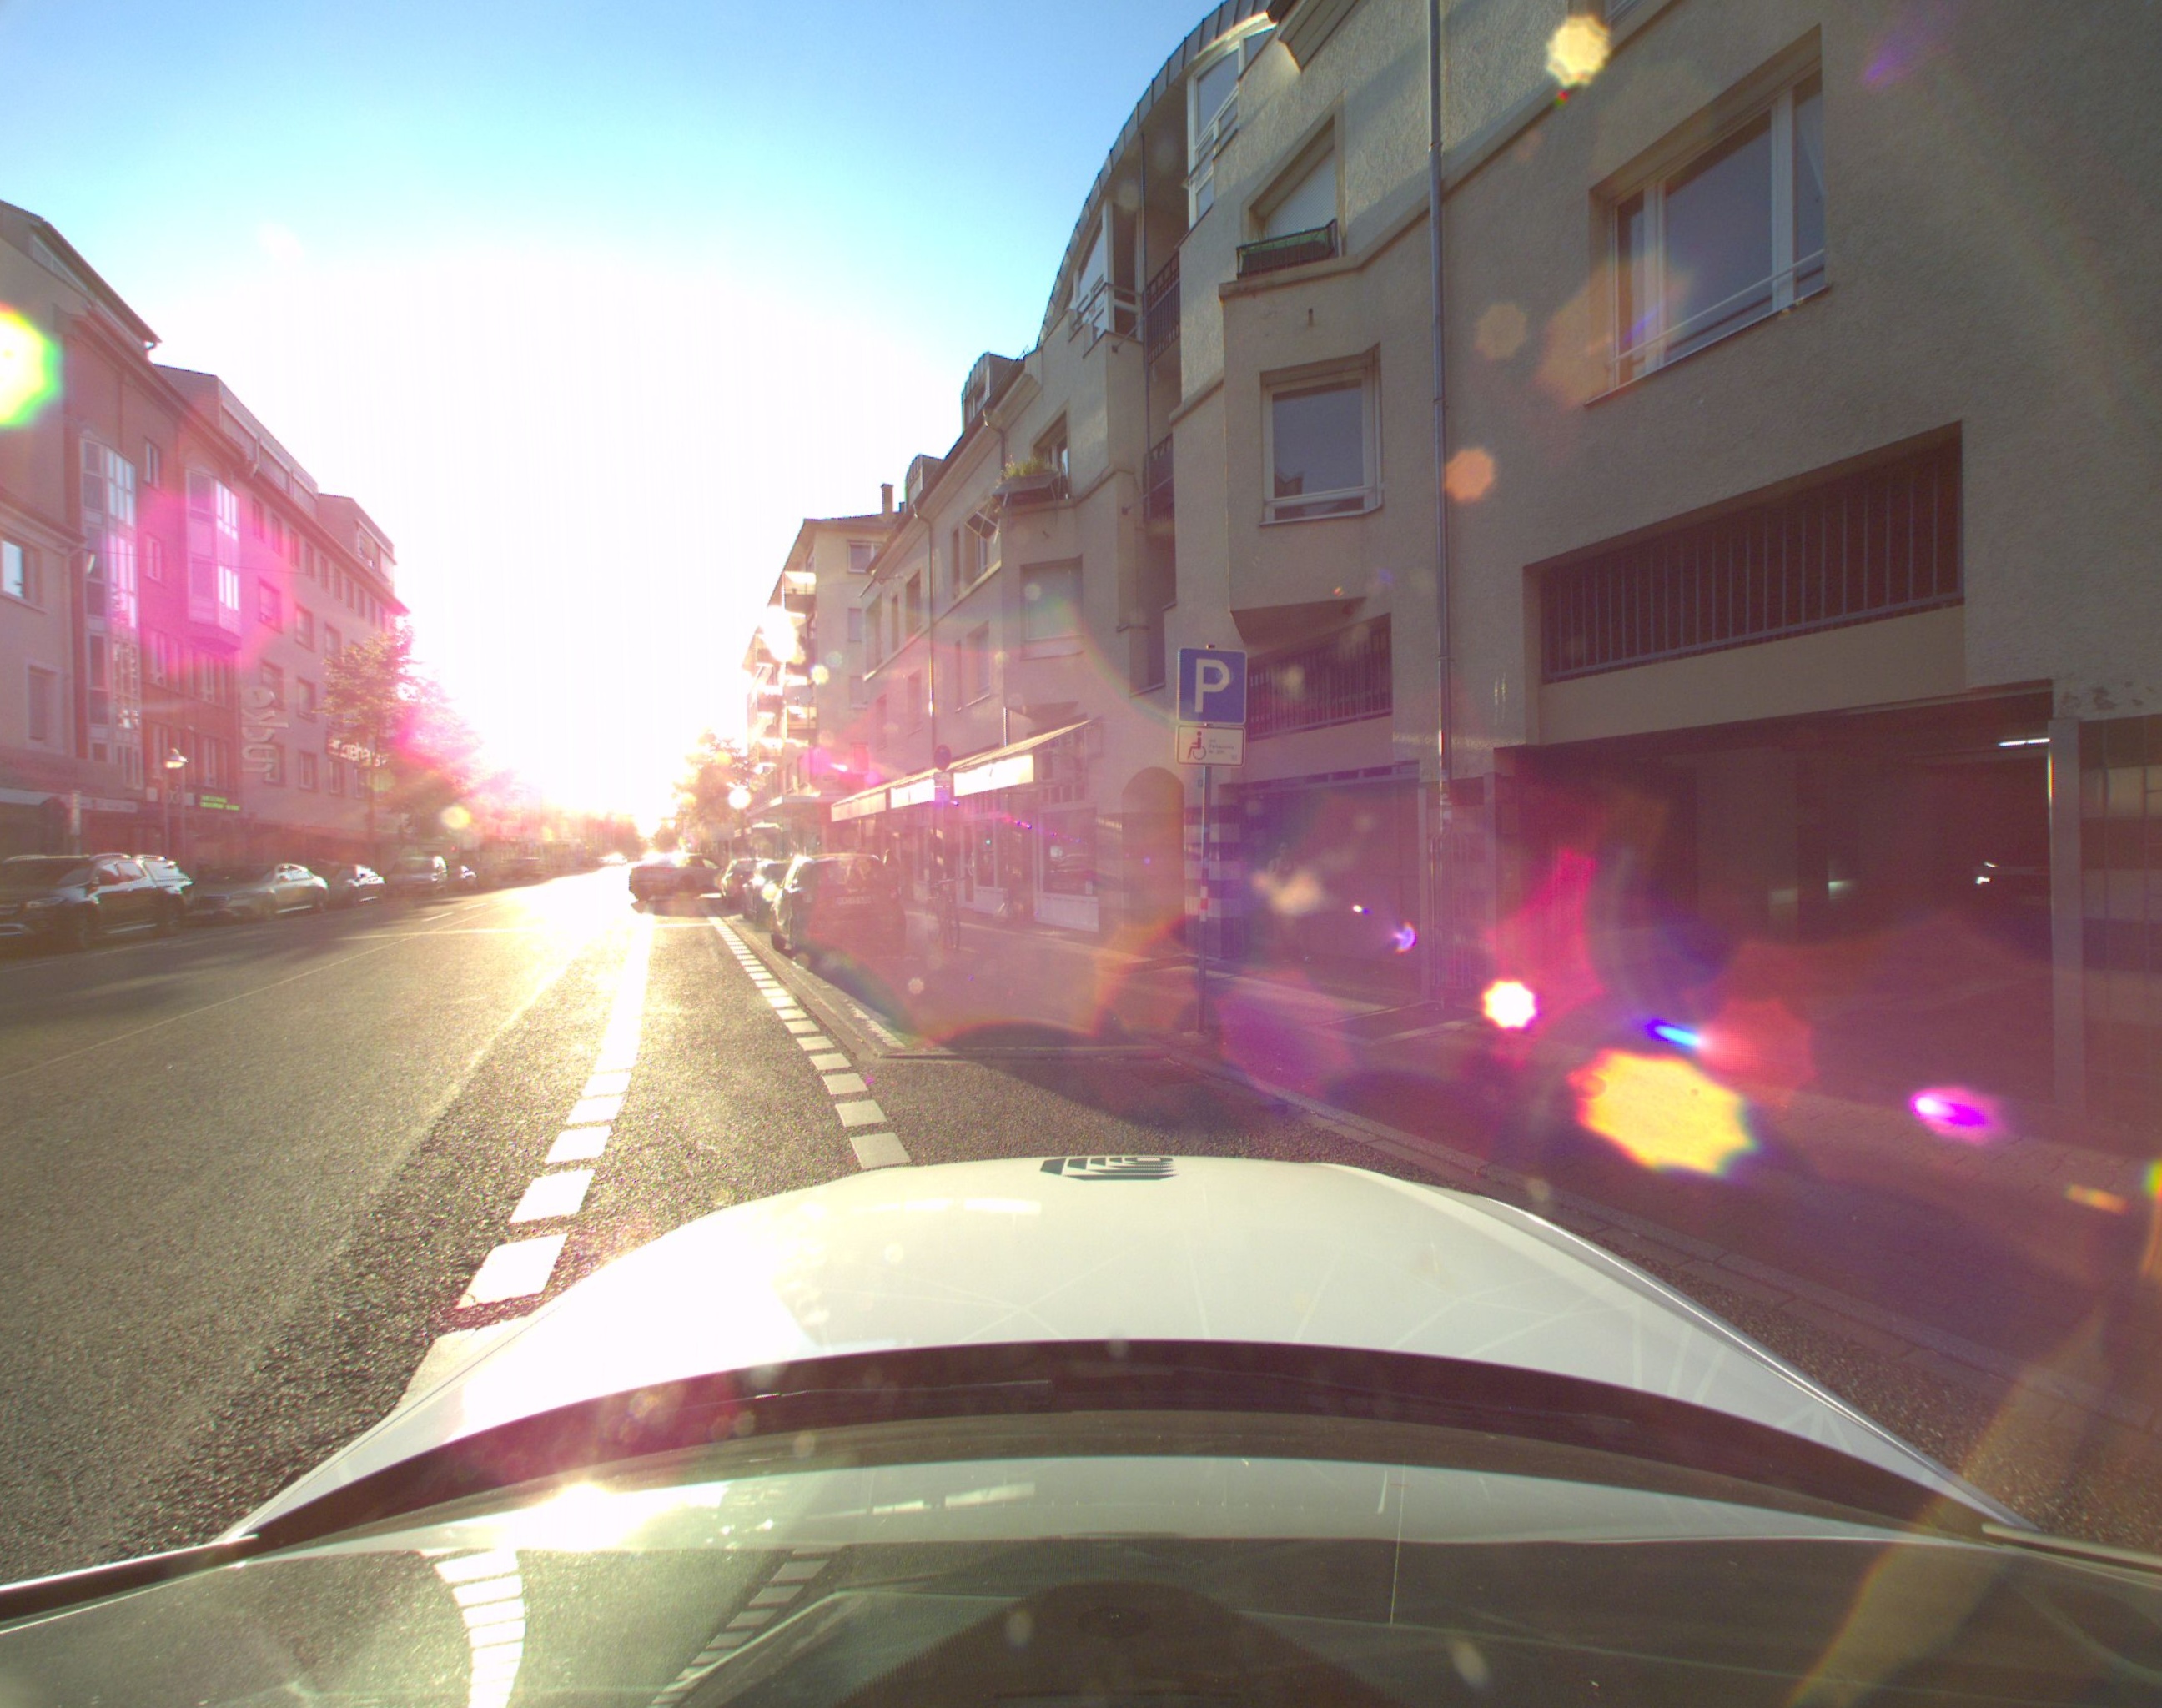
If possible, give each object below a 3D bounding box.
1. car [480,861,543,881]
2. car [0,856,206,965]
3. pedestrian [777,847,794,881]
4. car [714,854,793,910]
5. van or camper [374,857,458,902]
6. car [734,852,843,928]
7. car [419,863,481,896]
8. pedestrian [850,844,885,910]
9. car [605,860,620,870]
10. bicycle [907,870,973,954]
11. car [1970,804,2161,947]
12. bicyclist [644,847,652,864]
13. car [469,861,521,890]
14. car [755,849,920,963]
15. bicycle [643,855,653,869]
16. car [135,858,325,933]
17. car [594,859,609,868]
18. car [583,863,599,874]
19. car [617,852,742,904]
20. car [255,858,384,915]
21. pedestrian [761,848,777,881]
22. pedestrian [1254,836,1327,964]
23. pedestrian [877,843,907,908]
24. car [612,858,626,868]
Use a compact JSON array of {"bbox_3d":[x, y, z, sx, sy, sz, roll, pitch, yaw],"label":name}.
[{"bbox_3d":[-42.221,1.236,60.407,3.626,1.412,1.639,0,0,8],"label":"car"},{"bbox_3d":[-19.474,0.970,15.673,2.006,1.777,5.268,-2,1,-29],"label":"car"},{"bbox_3d":[-15.903,0.508,43.800,0.722,1.791,0.661,-2,1,-27],"label":"pedestrian"},{"bbox_3d":[-10.221,0.796,25.283,1.800,1.580,3.751,-1,1,-30],"label":"car"},{"bbox_3d":[-29.010,1.056,35.678,1.797,1.773,4.519,-1,1,-26],"label":"van or camper"},{"bbox_3d":[-6.992,0.759,19.268,1.800,1.580,3.751,-1,1,-30],"label":"car"},{"bbox_3d":[-31.499,1.227,40.762,1.698,1.502,3.755,-1,1,-26],"label":"car"},{"bbox_3d":[-5.677,0.593,21.625,0.634,1.700,1.031,-2,0,-28],"label":"pedestrian"},{"bbox_3d":[-71.577,1.683,124.343,1.698,1.502,3.755,-1,1,-26],"label":"car"},{"bbox_3d":[-2.318,0.887,13.200,0.561,1.206,1.961,-1,0,-25],"label":"bicycle"},{"bbox_3d":[13.607,0.165,10.201,4.250,1.573,1.807,-2,0,-19],"label":"car"},{"bbox_3d":[-39.940,0.149,75.116,0.549,1.580,0.796,-2,0,-25],"label":"bicyclist"},{"bbox_3d":[-33.000,1.188,45.952,1.698,1.502,3.755,-1,1,-26],"label":"car"},{"bbox_3d":[-4.211,0.733,13.646,1.800,1.580,3.929,-1,1,-30],"label":"car"},{"bbox_3d":[-39.964,0.703,75.226,0.666,1.243,2.113,1,0,-24],"label":"bicycle"},{"bbox_3d":[-22.277,0.984,21.603,2.004,1.655,4.587,-2,1,-27],"label":"car"},{"bbox_3d":[-77.404,1.529,131.561,1.698,1.502,3.755,-1,1,-26],"label":"car"},{"bbox_3d":[-74.010,2.149,122.917,1.698,1.502,3.755,-1,1,-26],"label":"car"},{"bbox_3d":[-14.076,0.787,28.857,1.863,1.697,4.330,0,0,7],"label":"car"},{"bbox_3d":[-24.964,0.995,26.894,2.005,1.655,4.439,-1,1,-28],"label":"car"},{"bbox_3d":[-17.346,0.561,45.228,0.722,1.791,0.661,-2,1,-27],"label":"pedestrian"},{"bbox_3d":[2.659,0.571,10.368,0.773,1.572,0.534,-1,0,0],"label":"pedestrian"},{"bbox_3d":[-5.063,0.558,21.793,0.562,1.700,0.824,-2,0,-28],"label":"pedestrian"},{"bbox_3d":[-74.646,1.505,131.653,1.698,1.502,3.755,-1,1,-26],"label":"car"}]
